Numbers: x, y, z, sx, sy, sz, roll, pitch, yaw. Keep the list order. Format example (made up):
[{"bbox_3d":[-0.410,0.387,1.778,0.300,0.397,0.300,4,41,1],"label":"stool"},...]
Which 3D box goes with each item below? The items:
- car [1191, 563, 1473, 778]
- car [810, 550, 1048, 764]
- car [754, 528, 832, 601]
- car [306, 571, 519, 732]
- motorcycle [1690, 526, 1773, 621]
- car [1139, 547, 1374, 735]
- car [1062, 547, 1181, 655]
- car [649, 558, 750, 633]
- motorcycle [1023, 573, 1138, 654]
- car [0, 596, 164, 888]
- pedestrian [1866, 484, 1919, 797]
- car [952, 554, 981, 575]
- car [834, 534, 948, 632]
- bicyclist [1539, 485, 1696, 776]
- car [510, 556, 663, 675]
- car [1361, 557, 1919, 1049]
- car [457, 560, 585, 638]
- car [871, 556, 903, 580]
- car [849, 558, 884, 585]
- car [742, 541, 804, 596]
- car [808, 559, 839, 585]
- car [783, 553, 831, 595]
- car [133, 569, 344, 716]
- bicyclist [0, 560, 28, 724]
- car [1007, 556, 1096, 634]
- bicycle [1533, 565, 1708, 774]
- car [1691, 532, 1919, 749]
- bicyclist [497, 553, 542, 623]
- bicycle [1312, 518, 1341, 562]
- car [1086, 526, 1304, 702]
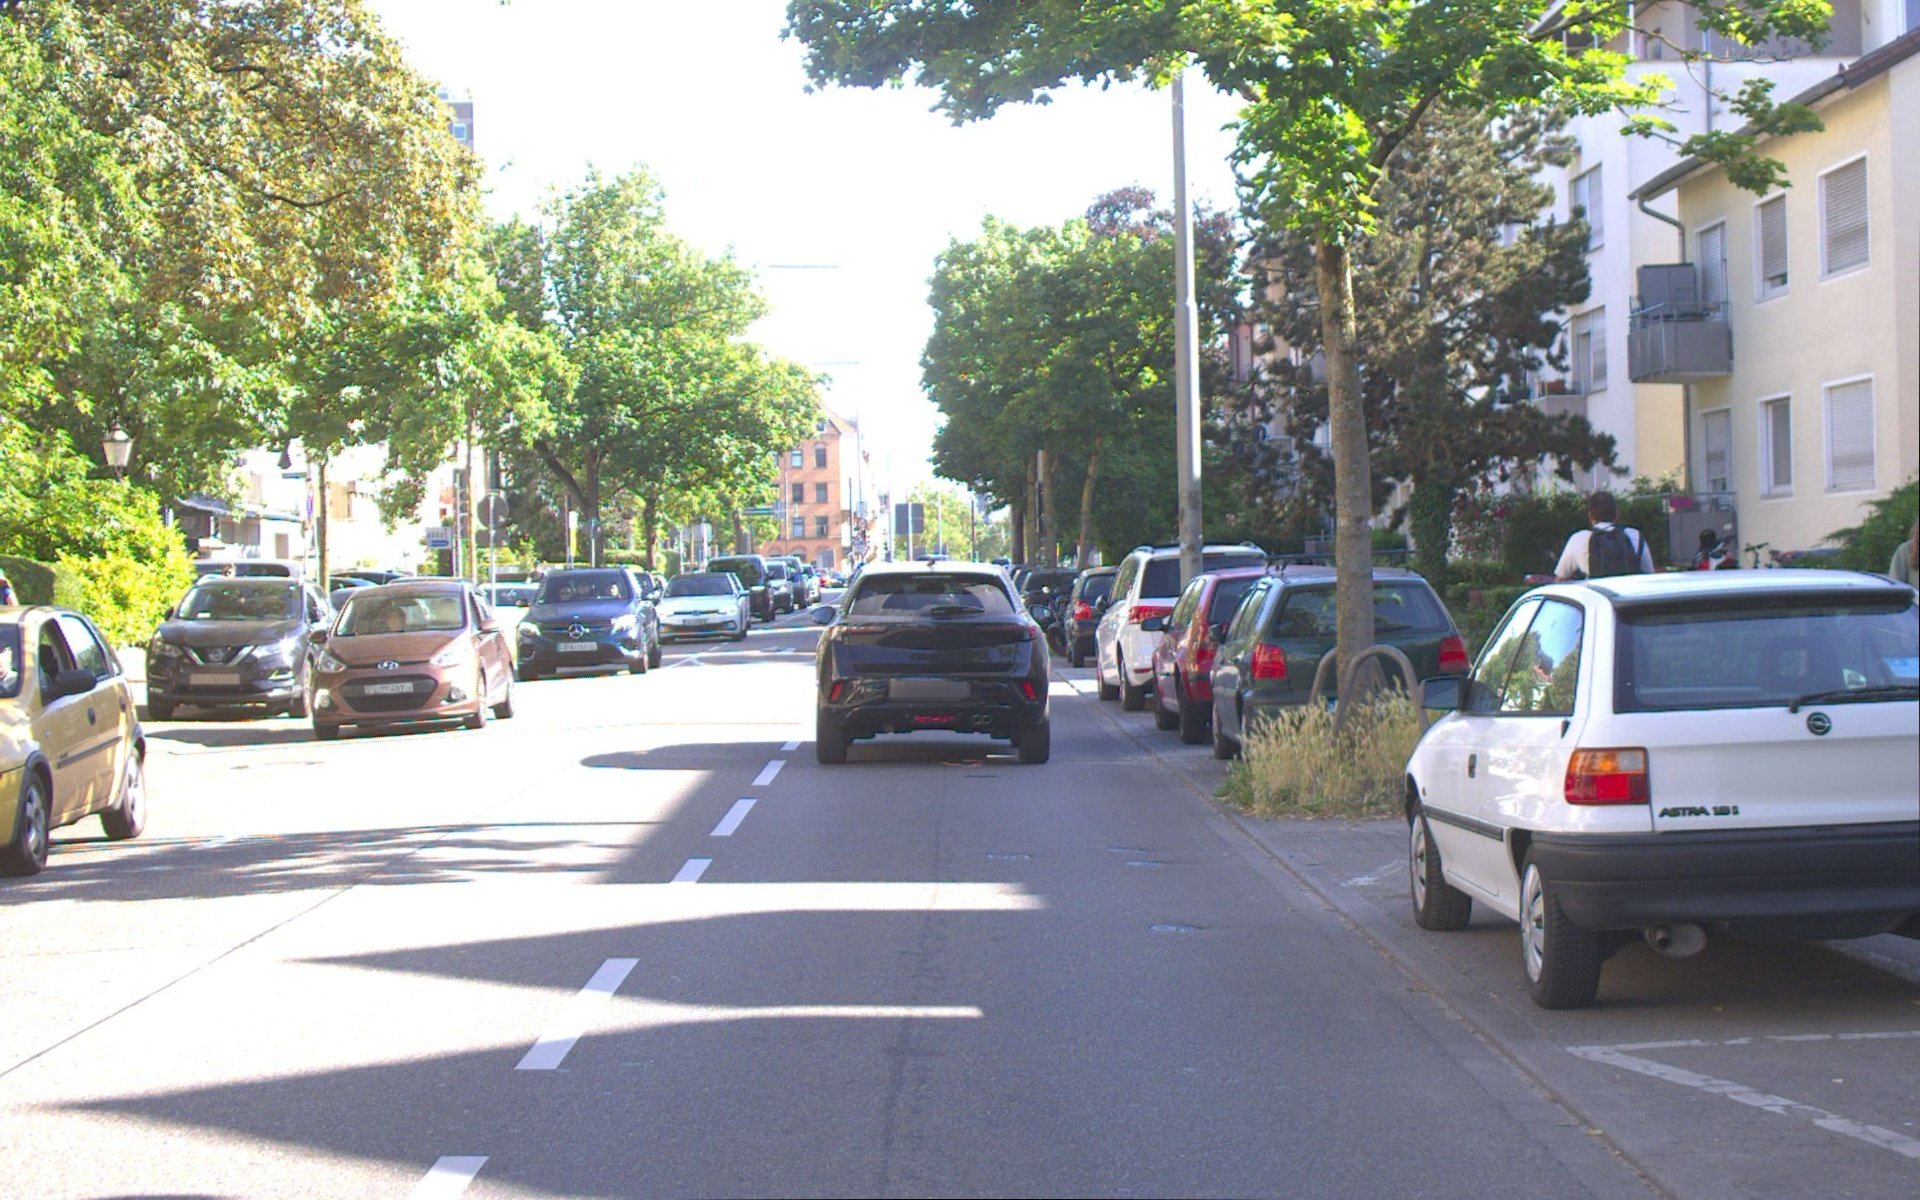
[{"bbox_3d":[2.591,0.447,24.639,1.531,1.351,3.718,-2,1,-1],"label":"car"},{"bbox_3d":[-0.248,0.398,27.035,1.745,1.568,3.558,0,1,-1],"label":"car"},{"bbox_3d":[-4.787,-1.047,99.320,2.016,1.945,5.179,-3,1,-1],"label":"car"},{"bbox_3d":[-5.487,0.474,34.817,1.581,1.446,3.745,-3,1,-1],"label":"car"},{"bbox_3d":[11.606,-0.414,51.772,0.636,1.371,2.426,-2,1,-1],"label":"motorcycle"},{"bbox_3d":[2.468,0.302,29.371,1.531,1.444,3.718,-2,1,-2],"label":"car"},{"bbox_3d":[2.393,-0.008,51.714,1.620,1.494,3.649,-2,1,1],"label":"car"},{"bbox_3d":[-5.384,-0.115,71.539,1.733,1.407,4.192,-4,1,0],"label":"car"},{"bbox_3d":[1.956,0.228,56.105,0.697,1.267,2.432,-4,1,-28],"label":"motorcycle"},{"bbox_3d":[-5.595,0.744,18.818,1.634,1.398,3.736,-3,1,-2],"label":"car"},{"bbox_3d":[5.295,0.206,18.695,0.538,1.671,0.493,-2,1,0],"label":"pedestrian"},{"bbox_3d":[0.494,-2.587,254.021,1.993,1.514,4.000,1,0,1],"label":"car"},{"bbox_3d":[-1.152,-0.323,58.930,1.830,1.573,3.839,-2,1,0],"label":"car"},{"bbox_3d":[4.188,0.182,21.970,0.724,1.787,1.016,-3,1,0],"label":"bicyclist"},{"bbox_3d":[-5.622,0.197,52.233,1.836,1.608,4.401,-4,1,-1],"label":"car"},{"bbox_3d":[2.579,0.594,12.473,1.649,1.398,3.970,-3,1,-1],"label":"car"},{"bbox_3d":[-8.170,-0.052,64.343,1.833,1.384,4.802,0,1,-1],"label":"car"},{"bbox_3d":[-4.708,-2.077,222.260,1.772,1.447,3.885,-2,1,3],"label":"car"},{"bbox_3d":[-5.266,-1.617,193.990,1.772,1.447,3.885,-2,1,1],"label":"car"},{"bbox_3d":[-6.315,-1.070,116.435,1.815,1.737,4.493,-4,1,-1],"label":"car"},{"bbox_3d":[-8.966,-1.856,225.625,1.791,1.611,4.000,-2,1,0],"label":"car"},{"bbox_3d":[-6.437,-1.105,144.690,1.806,1.642,4.673,-4,1,-1],"label":"car"},{"bbox_3d":[-8.303,0.449,39.906,1.624,1.583,4.348,0,1,-1],"label":"car"},{"bbox_3d":[-10.513,0.455,37.208,0.608,1.748,0.691,-2,1,0],"label":"bicyclist"},{"bbox_3d":[1.768,-0.126,67.804,1.586,1.391,4.454,-3,1,0],"label":"car"},{"bbox_3d":[4.196,0.418,21.958,0.698,1.242,1.822,-3,1,0],"label":"bicycle"},{"bbox_3d":[6.478,0.236,24.696,1.532,1.351,3.718,-4,1,-1],"label":"car"},{"bbox_3d":[-11.746,-0.318,91.608,1.051,1.818,0.661,-2,1,-15],"label":"bicyclist"},{"bbox_3d":[10.969,-1.795,102.866,0.591,1.283,1.689,-4,1,0],"label":"bicycle"},{"bbox_3d":[2.400,0.104,36.017,1.768,1.653,4.341,-3,1,-2],"label":"car"}]
